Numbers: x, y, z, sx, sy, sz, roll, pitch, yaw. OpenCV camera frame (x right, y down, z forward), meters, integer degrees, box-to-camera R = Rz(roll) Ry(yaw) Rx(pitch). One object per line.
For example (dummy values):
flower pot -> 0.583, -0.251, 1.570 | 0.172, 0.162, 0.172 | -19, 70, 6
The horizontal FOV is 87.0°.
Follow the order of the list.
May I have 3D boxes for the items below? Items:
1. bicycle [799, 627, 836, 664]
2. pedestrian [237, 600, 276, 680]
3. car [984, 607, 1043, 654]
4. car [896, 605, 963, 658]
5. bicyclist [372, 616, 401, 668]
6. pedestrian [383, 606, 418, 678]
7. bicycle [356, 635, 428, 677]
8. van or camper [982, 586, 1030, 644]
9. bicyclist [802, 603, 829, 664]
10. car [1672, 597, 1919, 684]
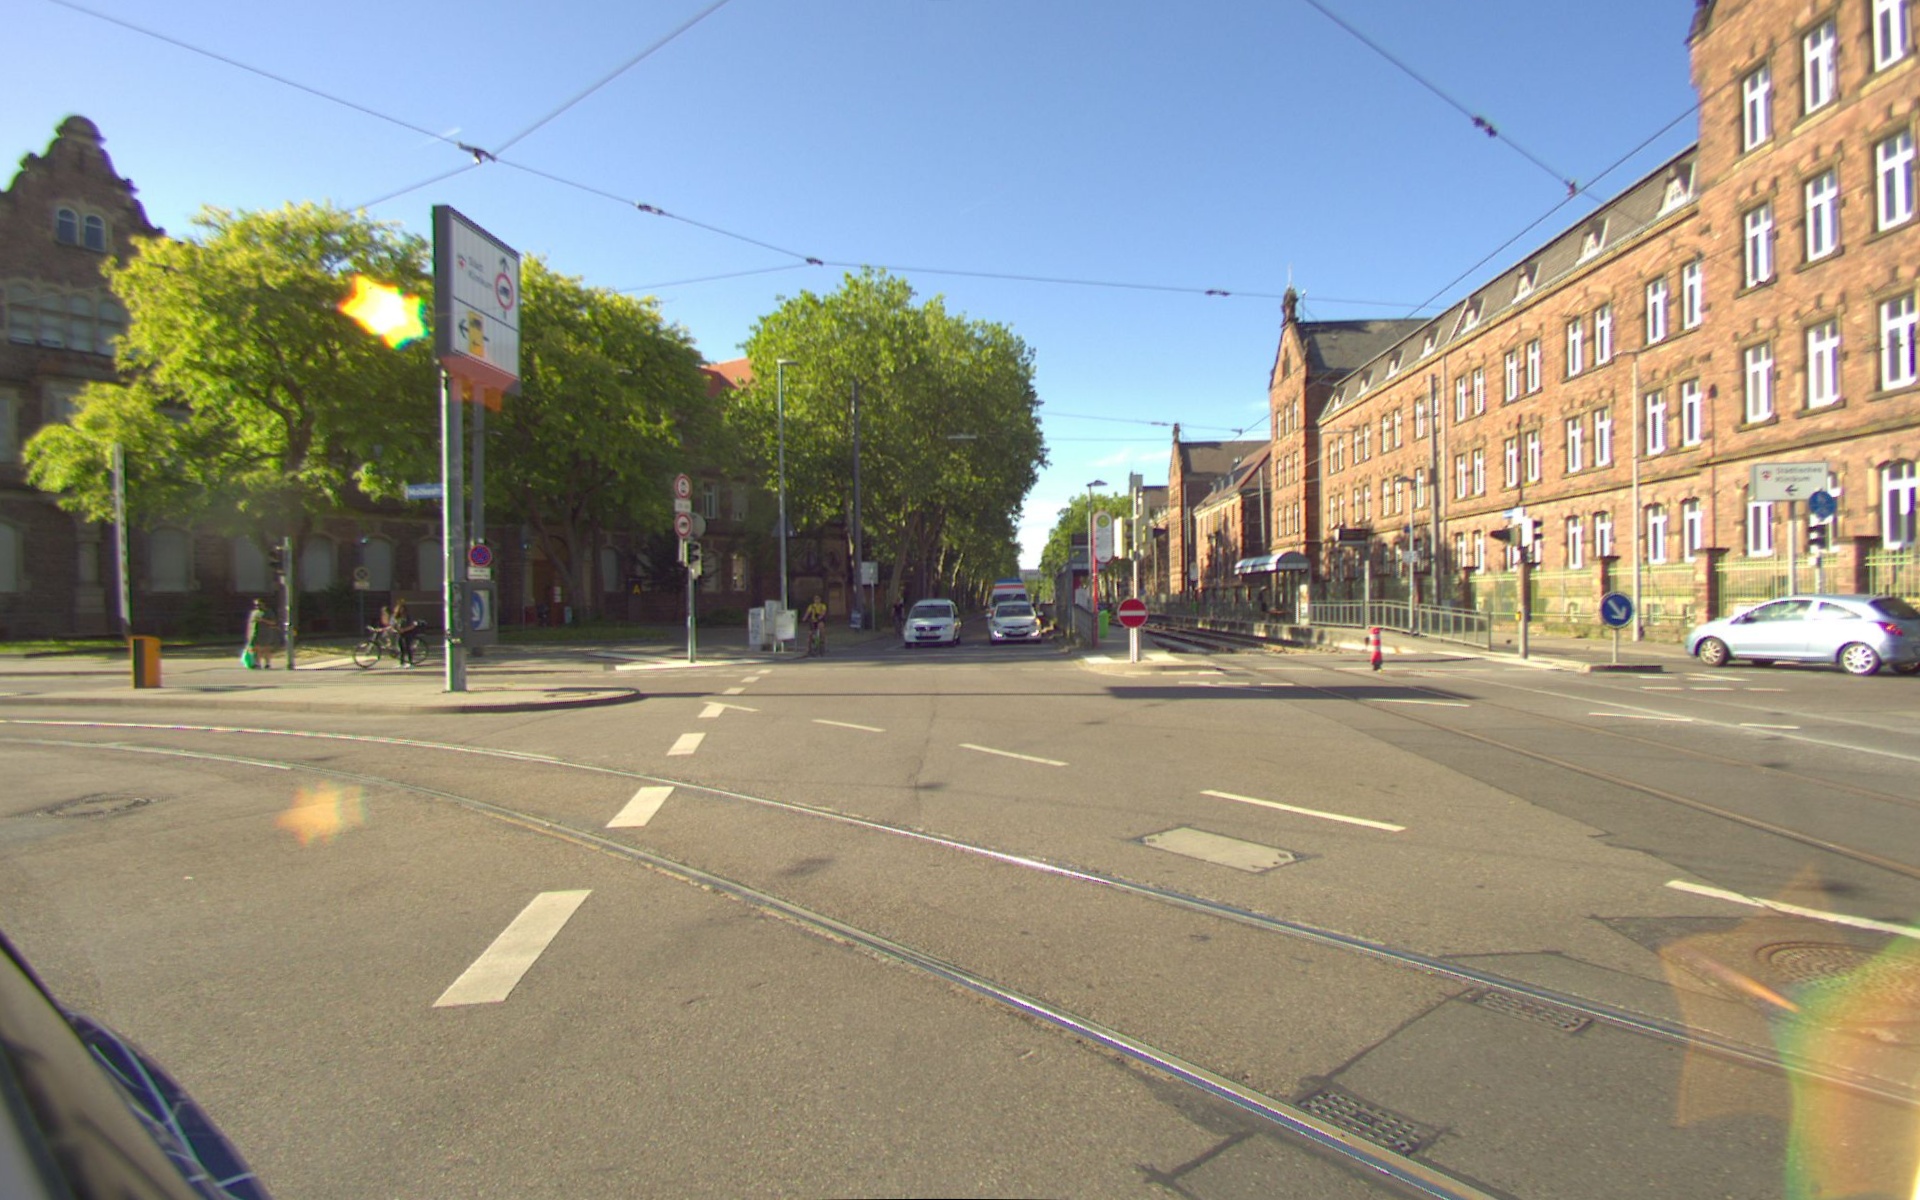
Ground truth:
bicycle -> -4.137, 1.335, 29.604 | 0.681, 1.041, 2.096 | 0, -3, 3
pedestrian -> -17.663, 1.001, 25.413 | 0.686, 1.969, 0.487 | -1, -1, -17
car -> 1.924, 1.079, 35.972 | 1.960, 1.560, 4.029 | -1, -1, 4
car -> -0.980, 1.066, 34.681 | 1.887, 1.630, 4.567 | -2, -1, 3
bicyclist -> -14.688, 1.068, 25.937 | 0.608, 1.294, 0.480 | 0, -1, -26
pedestrian -> -13.793, 1.023, 24.939 | 0.658, 1.760, 0.487 | -1, -1, -17
bicycle -> -14.568, 1.418, 25.993 | 1.565, 1.004, 0.480 | -1, 0, -26
van or camper -> 2.071, 0.707, 44.958 | 1.974, 2.379, 5.592 | -1, -2, 3
bicyclist -> -4.160, 0.971, 29.241 | 0.661, 1.742, 0.622 | 0, -3, 3
car -> 16.154, 0.710, 19.110 | 1.712, 1.454, 4.128 | 0, -1, -23
